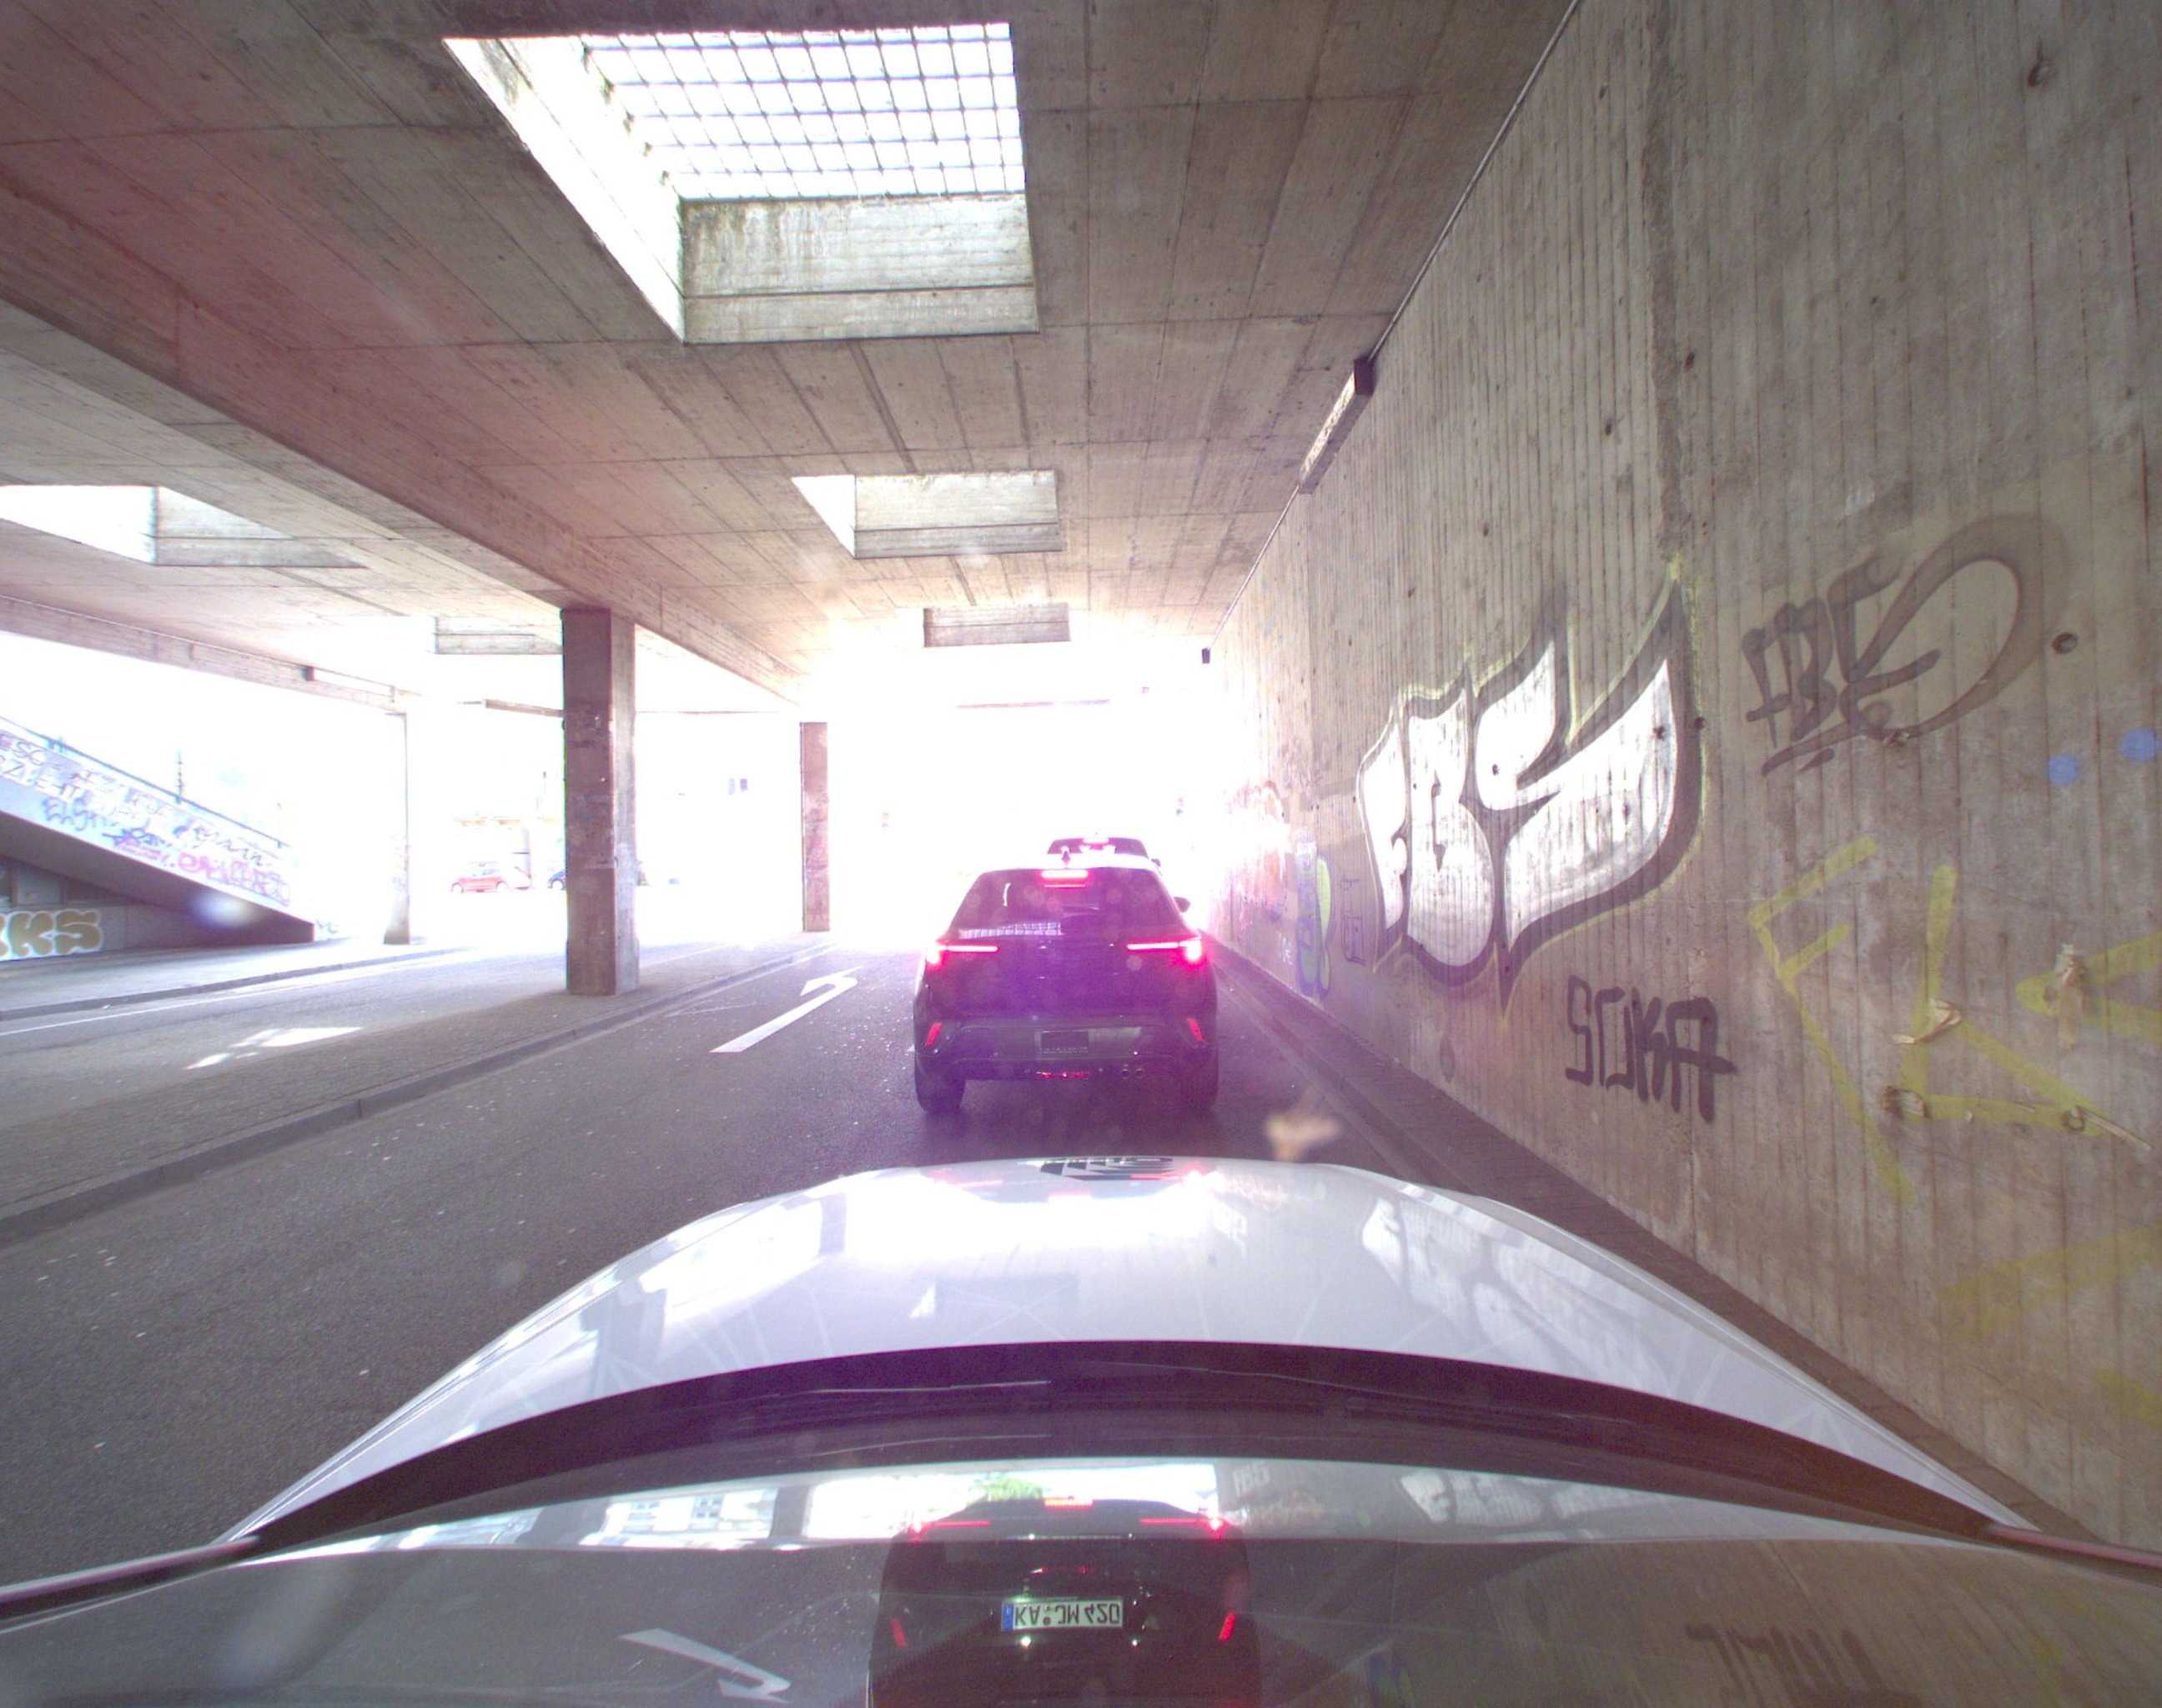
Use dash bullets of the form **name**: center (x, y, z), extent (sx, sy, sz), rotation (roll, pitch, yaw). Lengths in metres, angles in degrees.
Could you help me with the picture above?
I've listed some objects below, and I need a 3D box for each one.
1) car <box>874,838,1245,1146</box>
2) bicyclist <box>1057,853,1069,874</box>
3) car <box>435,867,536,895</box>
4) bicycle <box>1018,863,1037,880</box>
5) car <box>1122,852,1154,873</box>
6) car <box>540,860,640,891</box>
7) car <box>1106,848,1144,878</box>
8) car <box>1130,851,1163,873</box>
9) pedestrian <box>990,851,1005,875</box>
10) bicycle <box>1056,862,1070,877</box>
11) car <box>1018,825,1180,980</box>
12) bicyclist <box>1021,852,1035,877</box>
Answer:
- **car**: center (-0.050, 0.711, 6.182), extent (1.875, 1.538, 3.966), rotation (-2, 0, 2)
- **bicyclist**: center (-1.339, 0.703, 60.137), extent (0.724, 1.581, 0.817), rotation (-1, -1, 11)
- **car**: center (-33.013, 1.470, 45.235), extent (3.970, 1.374, 2.192), rotation (-2, 0, 3)
- **bicycle**: center (-3.389, 1.107, 51.738), extent (0.727, 1.067, 1.694), rotation (-1, -1, 11)
- **car**: center (4.406, 0.646, 62.245), extent (1.955, 1.497, 3.908), rotation (-2, -2, 11)
- **car**: center (-27.209, 1.181, 45.235), extent (4.114, 1.550, 2.268), rotation (-2, 0, 1)
- **car**: center (2.408, 0.505, 44.261), extent (1.959, 1.497, 3.900), rotation (-2, -2, 4)
- **car**: center (5.588, 0.692, 69.031), extent (2.206, 1.719, 4.474), rotation (-2, -2, 12)
- **pedestrian**: center (-7.401, 0.784, 72.133), extent (0.986, 2.013, 1.091), rotation (-2, 0, 10)
- **bicycle**: center (-1.322, 1.161, 60.165), extent (0.621, 1.067, 1.694), rotation (-1, -1, 11)
- **car**: center (0.282, 0.595, 12.003), extent (1.938, 1.860, 3.966), rotation (-2, 0, 2)
- **bicyclist**: center (-3.379, 0.650, 51.773), extent (0.724, 1.581, 0.817), rotation (-1, -1, 11)
